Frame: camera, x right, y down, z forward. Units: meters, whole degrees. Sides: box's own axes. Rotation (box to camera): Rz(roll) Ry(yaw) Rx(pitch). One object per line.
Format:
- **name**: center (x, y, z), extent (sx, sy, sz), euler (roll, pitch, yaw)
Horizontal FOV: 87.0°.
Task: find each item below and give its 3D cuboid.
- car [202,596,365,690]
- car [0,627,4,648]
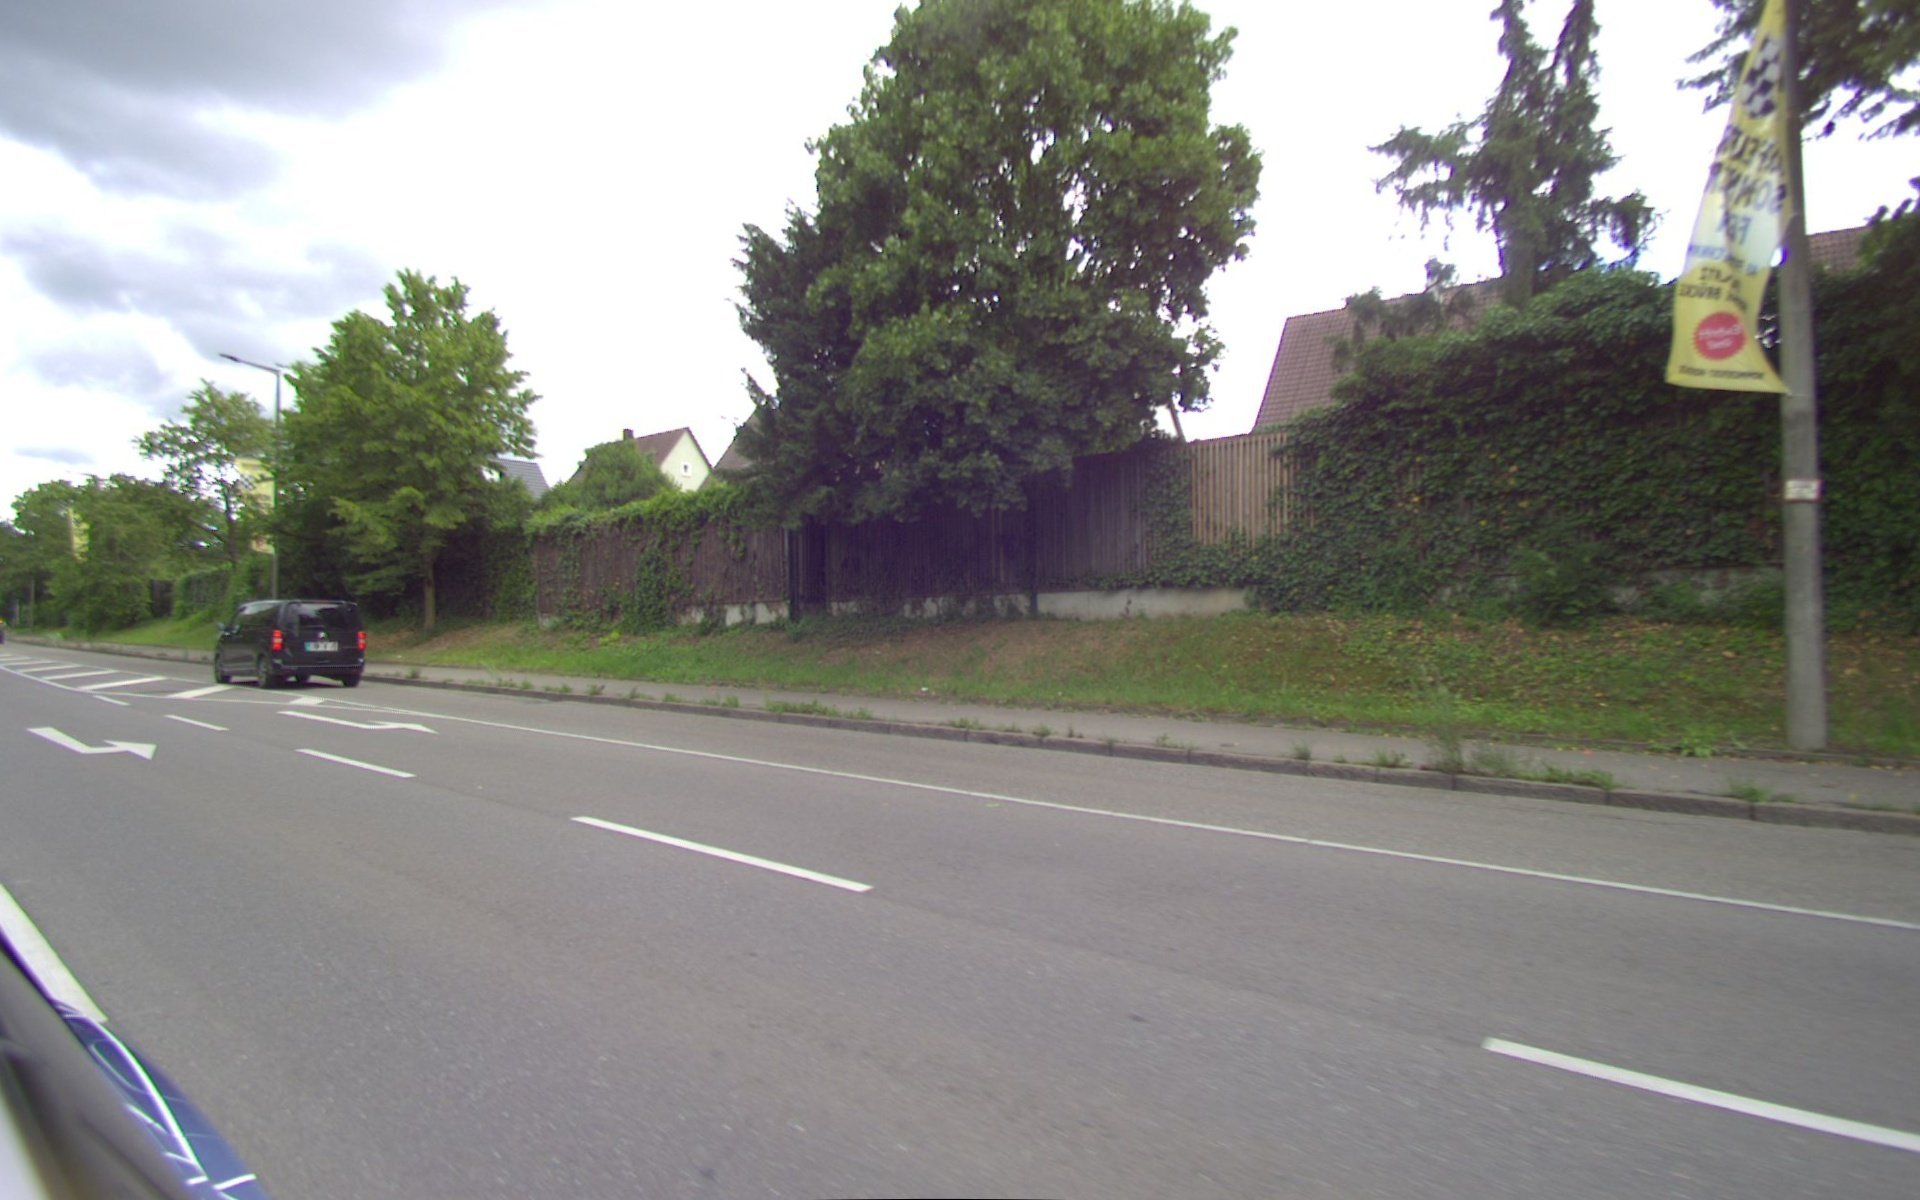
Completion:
- **car**: center (-15.421, 0.946, 22.971), extent (4.685, 1.919, 1.785), euler (-1, -2, 40)
- **car**: center (-67.524, 2.565, 70.004), extent (4.007, 1.433, 1.636), euler (-1, -3, 42)
